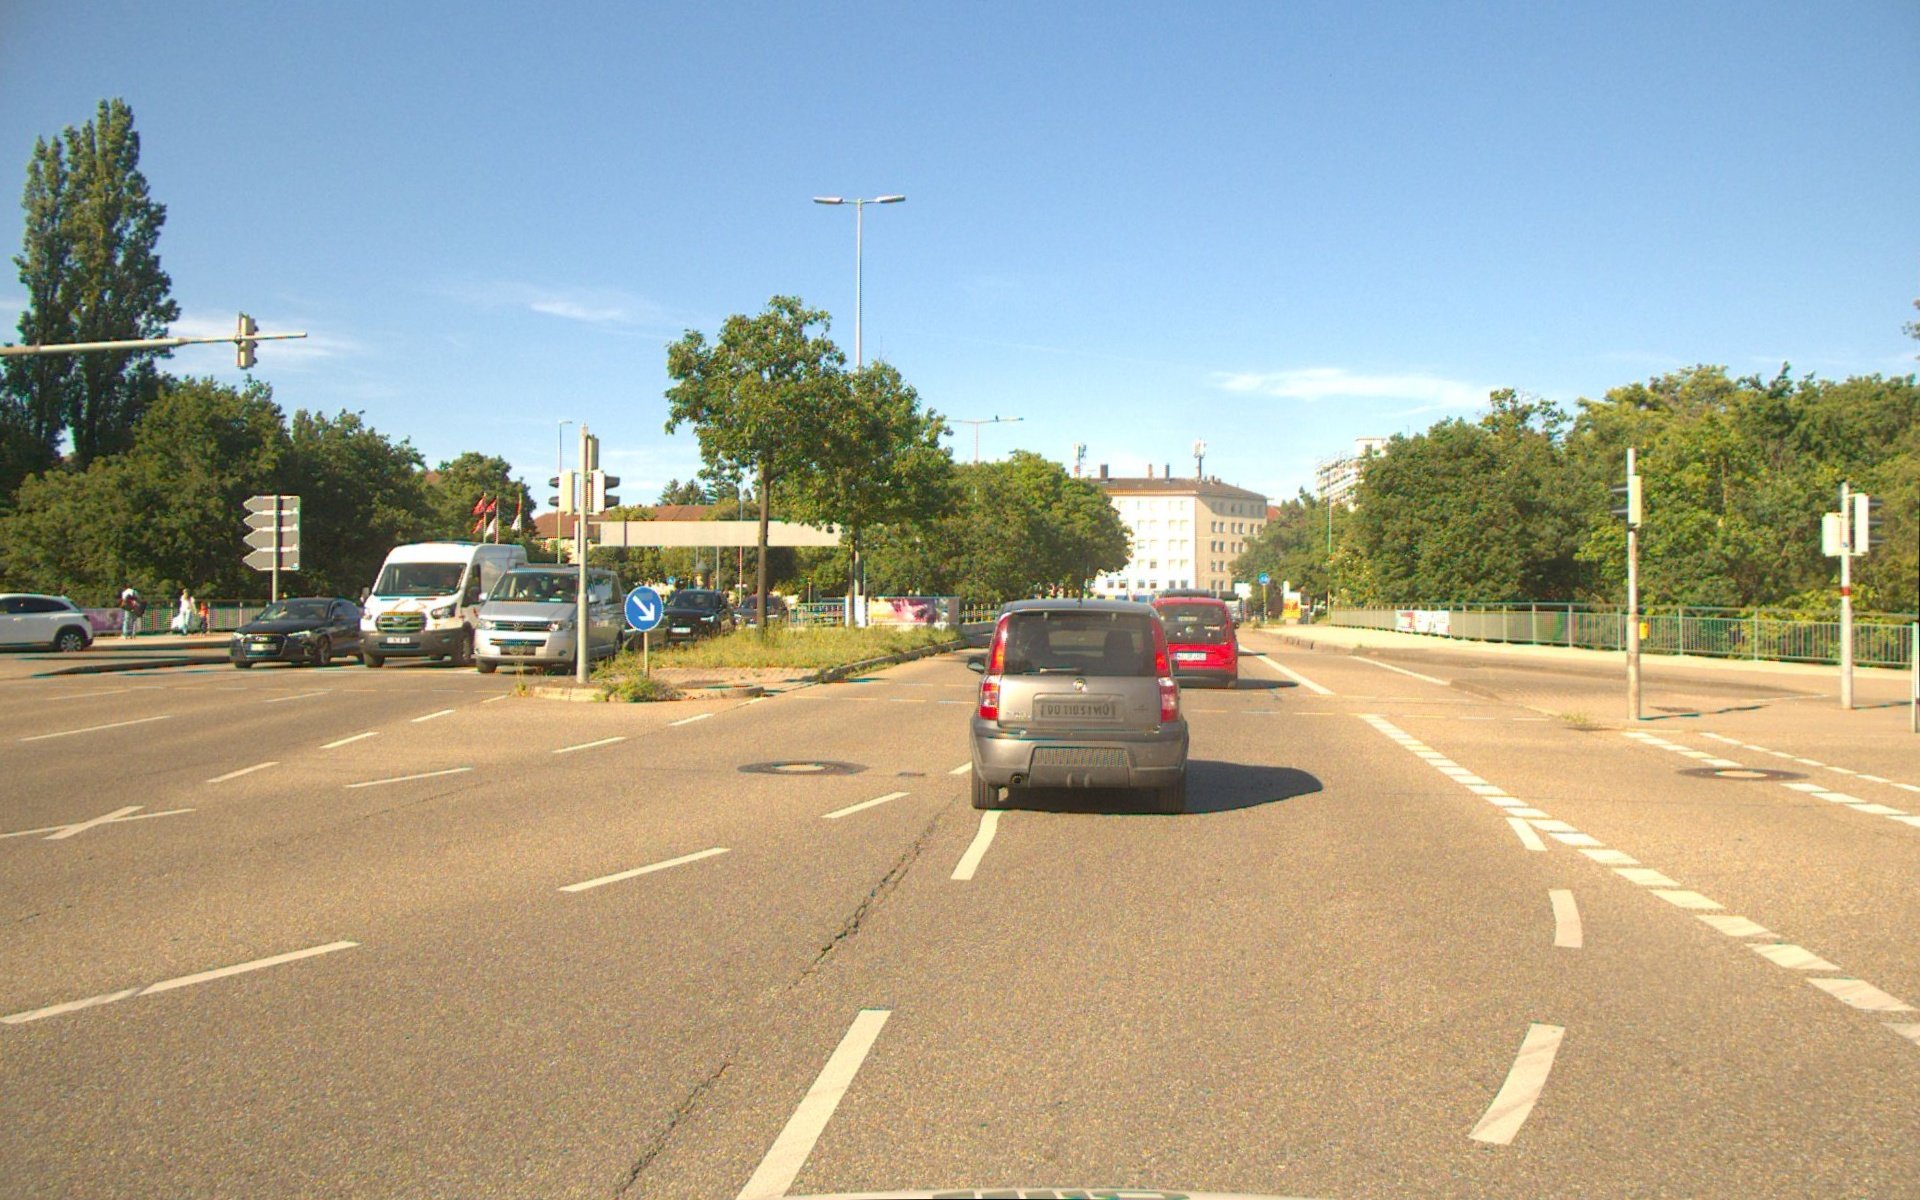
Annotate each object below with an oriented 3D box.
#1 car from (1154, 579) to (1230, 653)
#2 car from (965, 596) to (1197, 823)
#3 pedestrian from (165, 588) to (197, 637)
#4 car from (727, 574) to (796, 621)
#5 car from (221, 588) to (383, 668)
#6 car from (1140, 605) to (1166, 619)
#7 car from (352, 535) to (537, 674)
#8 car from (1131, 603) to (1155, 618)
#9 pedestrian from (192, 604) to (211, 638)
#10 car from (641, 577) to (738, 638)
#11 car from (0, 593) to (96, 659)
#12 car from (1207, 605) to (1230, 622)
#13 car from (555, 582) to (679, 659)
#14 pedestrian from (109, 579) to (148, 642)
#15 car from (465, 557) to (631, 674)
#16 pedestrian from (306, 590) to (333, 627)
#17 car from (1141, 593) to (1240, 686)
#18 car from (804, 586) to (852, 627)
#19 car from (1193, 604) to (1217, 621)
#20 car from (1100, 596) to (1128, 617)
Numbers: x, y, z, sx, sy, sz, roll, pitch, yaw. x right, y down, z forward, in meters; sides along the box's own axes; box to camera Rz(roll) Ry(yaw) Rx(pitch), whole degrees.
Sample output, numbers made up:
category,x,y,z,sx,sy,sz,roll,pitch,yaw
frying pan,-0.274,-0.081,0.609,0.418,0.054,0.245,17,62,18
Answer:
category,x,y,z,sx,sy,sz,roll,pitch,yaw
car,6.279,0.445,45.093,1.904,1.872,4.155,2,-1,6
car,0.923,0.744,13.264,1.583,1.542,3.821,0,0,3
pedestrian,-27.157,0.434,57.686,0.705,1.670,0.673,1,-2,5
car,-7.275,-0.097,61.098,1.896,1.650,4.506,0,0,1
car,-13.618,0.547,34.488,1.898,1.534,3.998,-1,0,-3
car,21.837,1.379,186.707,1.905,1.555,4.097,0,0,22
car,-10.531,0.076,34.320,1.897,2.621,6.088,0,0,0
car,19.779,1.144,178.714,1.904,1.555,4.100,0,0,17
pedestrian,-26.472,0.733,57.730,0.414,1.156,0.398,1,-2,5
car,-7.627,0.191,47.069,1.896,1.650,4.506,0,0,1
car,-23.650,0.621,40.343,1.745,1.562,4.322,1,1,28
car,29.736,1.570,190.279,1.827,1.710,3.908,1,-2,21
car,-7.801,0.447,38.026,1.897,1.650,4.505,0,0,0
pedestrian,-27.370,0.366,54.448,0.789,2.032,0.788,1,-2,5
car,-7.708,0.262,31.425,1.897,2.043,4.931,0,0,0
pedestrian,-26.870,0.358,69.415,0.656,1.529,0.779,1,-2,19
car,3.922,0.625,28.578,1.583,1.488,3.753,0,0,6
car,-6.792,0.330,85.255,1.952,2.049,4.335,0,0,2
car,26.988,1.352,182.311,1.827,1.710,3.909,1,-2,20
car,11.534,0.475,123.468,1.904,1.555,4.100,0,0,8
